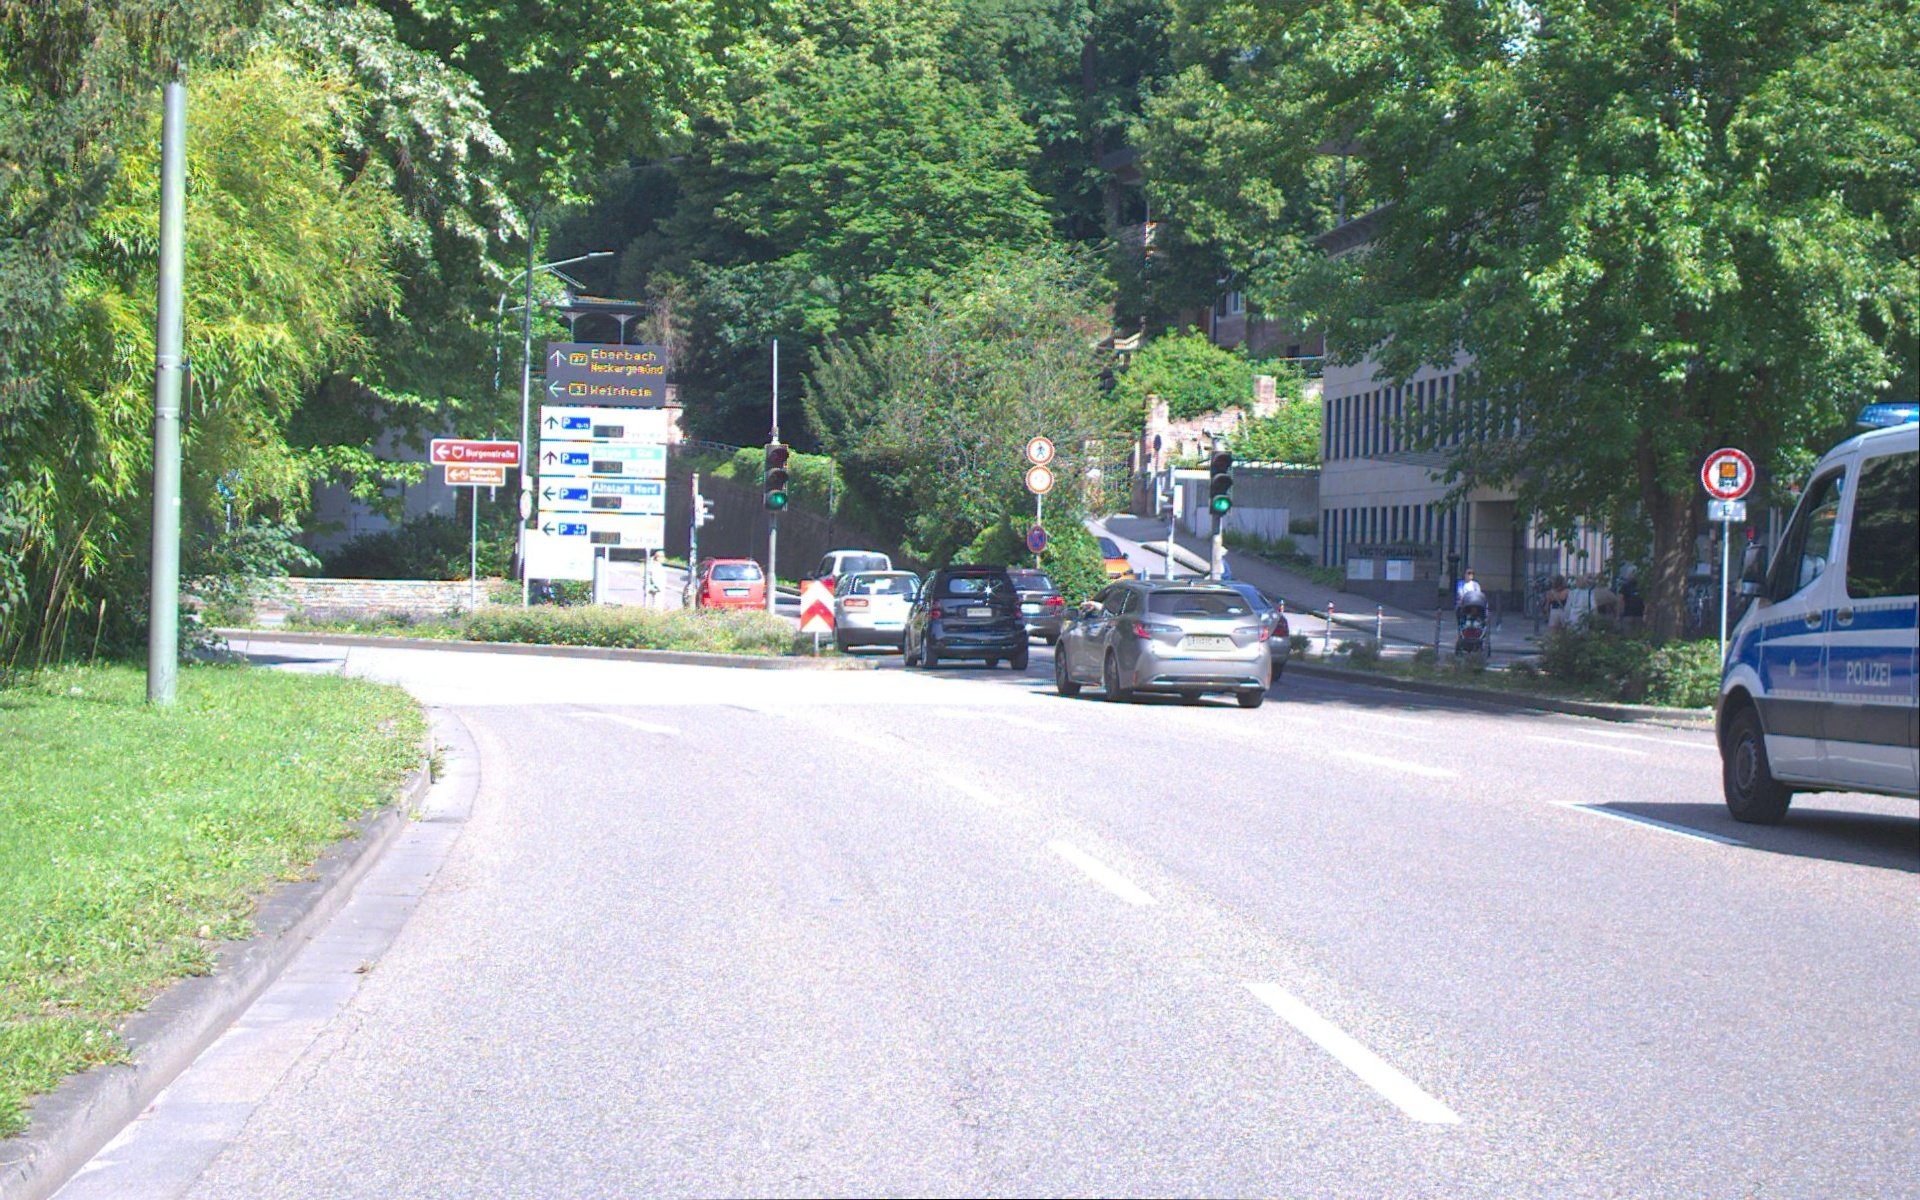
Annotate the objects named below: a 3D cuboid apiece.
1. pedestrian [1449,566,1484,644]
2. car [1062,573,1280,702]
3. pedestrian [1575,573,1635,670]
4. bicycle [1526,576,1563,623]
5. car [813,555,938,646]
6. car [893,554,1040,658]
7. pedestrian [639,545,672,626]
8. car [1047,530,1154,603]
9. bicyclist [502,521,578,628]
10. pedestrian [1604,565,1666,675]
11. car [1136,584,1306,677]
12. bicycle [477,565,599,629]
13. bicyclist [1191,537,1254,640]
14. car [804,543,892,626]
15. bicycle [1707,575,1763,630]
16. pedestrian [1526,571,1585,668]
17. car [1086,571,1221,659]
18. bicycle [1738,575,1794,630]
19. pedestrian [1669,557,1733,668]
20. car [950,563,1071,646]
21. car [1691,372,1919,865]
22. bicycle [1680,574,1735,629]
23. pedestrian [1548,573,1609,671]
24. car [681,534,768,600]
[{"bbox_3d":[9.431,0.089,64.046,0.489,1.453,0.734,1,0,-3],"label":"pedestrian"},{"bbox_3d":[2.387,0.405,39.804,1.756,1.329,3.802,2,1,-8],"label":"car"},{"bbox_3d":[11.316,0.375,60.315,0.771,1.657,0.829,2,1,-6],"label":"pedestrian"},{"bbox_3d":[12.799,-0.015,75.322,0.405,1.009,1.341,1,1,-7],"label":"bicycle"},{"bbox_3d":[-1.509,-0.012,60.106,1.756,1.456,3.647,2,1,-8],"label":"car"},{"bbox_3d":[0.066,0.070,52.618,1.756,1.456,3.495,2,1,-8],"label":"car"},{"bbox_3d":[-6.127,-0.300,69.189,0.547,1.615,0.634,1,1,2],"label":"pedestrian"},{"bbox_3d":[3.401,-0.813,83.855,1.931,1.691,4.001,1,0,-8],"label":"car"},{"bbox_3d":[-7.733,-0.469,63.357,1.127,1.926,0.747,2,0,18],"label":"bicyclist"},{"bbox_3d":[11.630,0.334,59.235,0.771,1.848,0.829,2,1,-7],"label":"pedestrian"},{"bbox_3d":[3.781,0.426,50.371,1.756,1.209,3.495,2,1,-8],"label":"car"},{"bbox_3d":[-7.781,-0.059,63.356,2.078,1.109,0.756,2,1,18],"label":"bicycle"},{"bbox_3d":[5.041,-0.220,65.955,1.126,1.926,0.748,2,0,6],"label":"bicyclist"},{"bbox_3d":[-2.761,-0.393,84.347,1.756,1.931,3.495,2,1,-8],"label":"car"},{"bbox_3d":[15.811,0.042,70.157,0.537,1.081,1.835,1,1,-5],"label":"bicycle"},{"bbox_3d":[10.503,0.342,60.651,0.771,1.657,0.829,2,1,-6],"label":"pedestrian"},{"bbox_3d":[3.468,0.243,62.135,1.756,1.456,3.495,2,1,-8],"label":"car"},{"bbox_3d":[16.453,0.053,70.208,0.537,1.081,1.835,1,1,-5],"label":"bicycle"},{"bbox_3d":[12.651,0.210,58.705,0.771,1.848,0.830,2,1,-8],"label":"pedestrian"},{"bbox_3d":[0.938,0.069,65.848,1.756,1.456,3.647,2,1,-8],"label":"car"},{"bbox_3d":[5.785,0.110,18.626,2.073,2.500,4.930,2,0,-6],"label":"car"},{"bbox_3d":[15.249,0.032,70.151,0.537,1.081,1.835,1,1,-5],"label":"bicycle"},{"bbox_3d":[10.690,0.370,59.447,0.771,1.657,0.829,2,1,-7],"label":"pedestrian"},{"bbox_3d":[-5.494,-0.780,80.041,1.756,1.456,3.495,2,1,-8],"label":"car"}]
